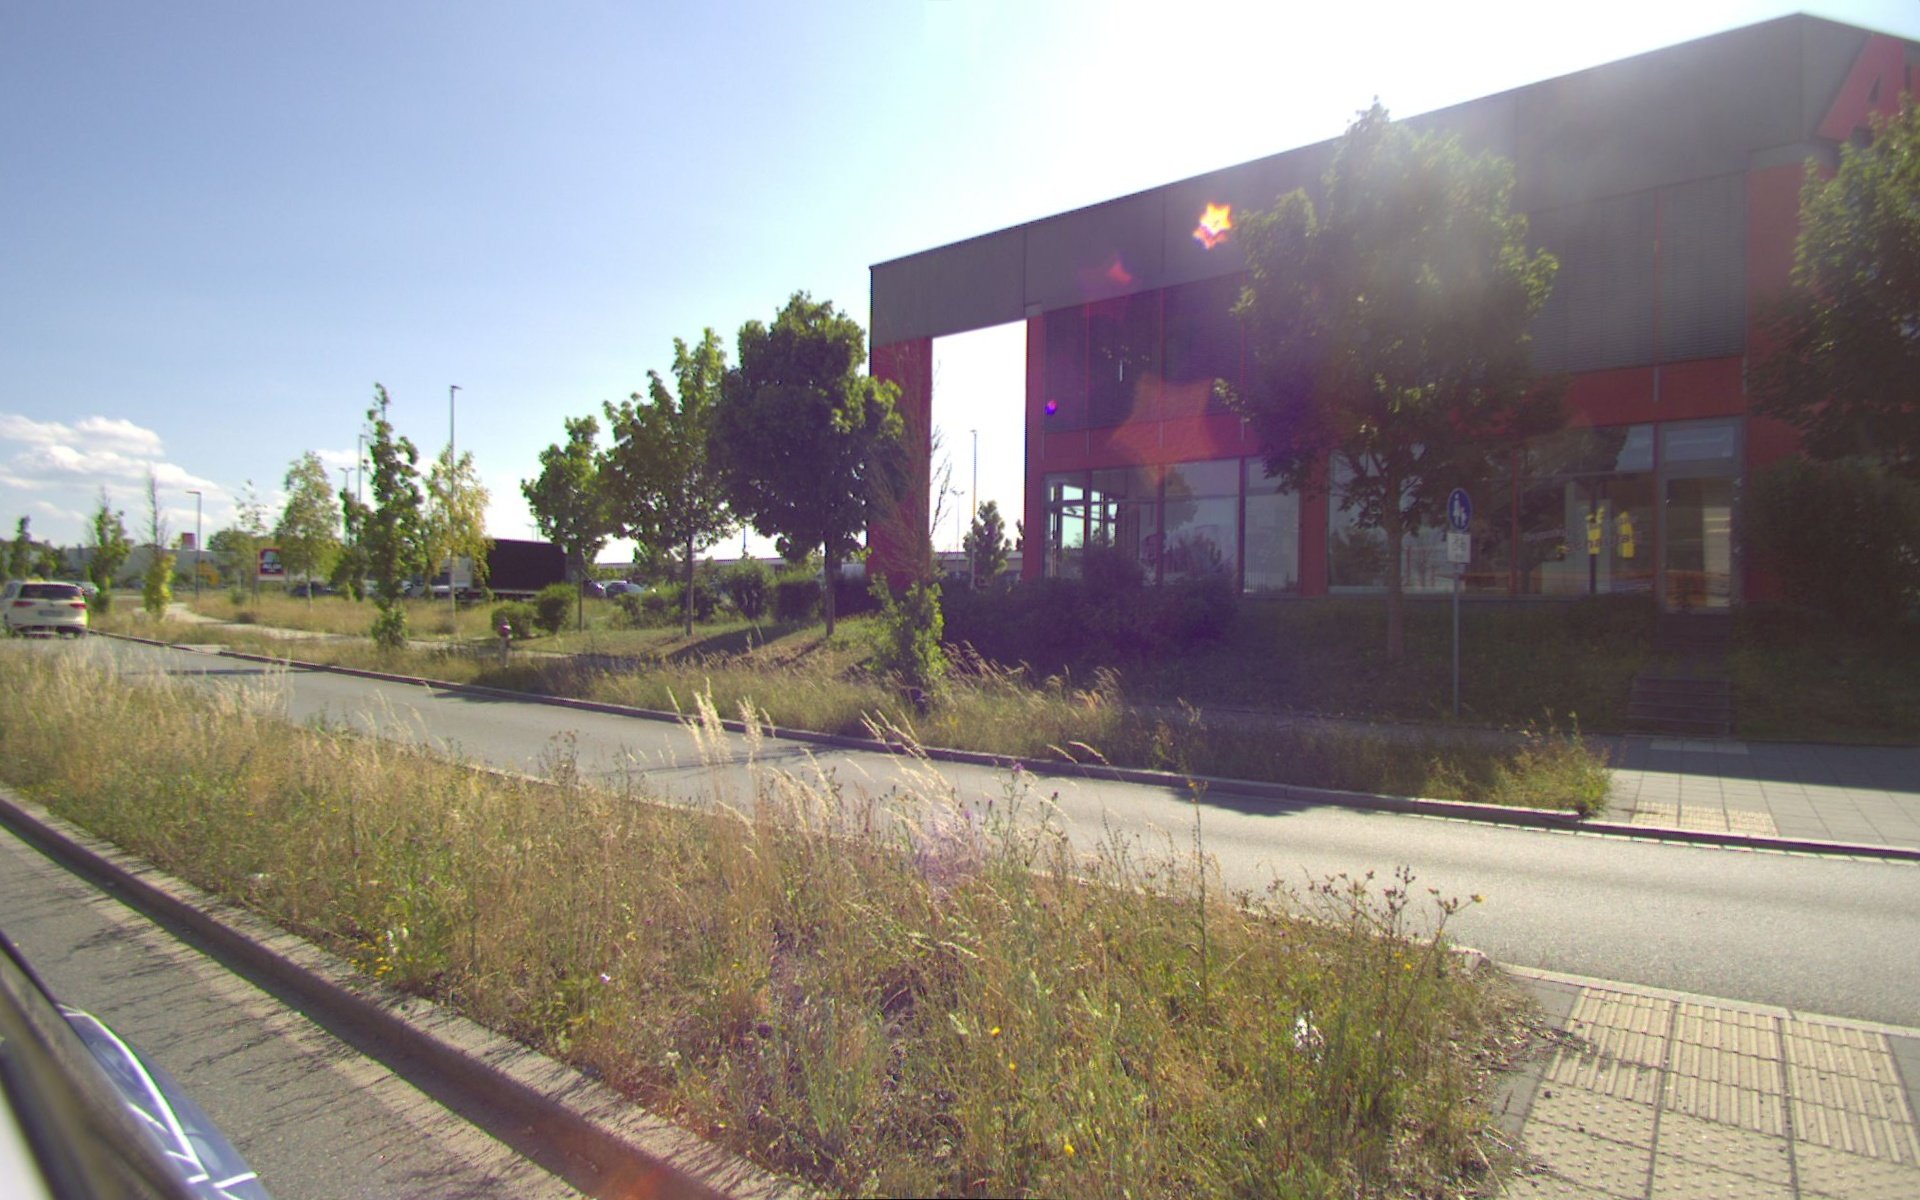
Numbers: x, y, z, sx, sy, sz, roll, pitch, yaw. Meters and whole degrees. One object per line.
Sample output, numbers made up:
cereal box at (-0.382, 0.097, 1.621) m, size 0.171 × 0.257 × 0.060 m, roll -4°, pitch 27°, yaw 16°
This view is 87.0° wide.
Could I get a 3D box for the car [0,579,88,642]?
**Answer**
car at (-27.277, 0.299, 29.606) m, size 4.151 × 1.728 × 1.839 m, roll 0°, pitch -2°, yaw 38°
